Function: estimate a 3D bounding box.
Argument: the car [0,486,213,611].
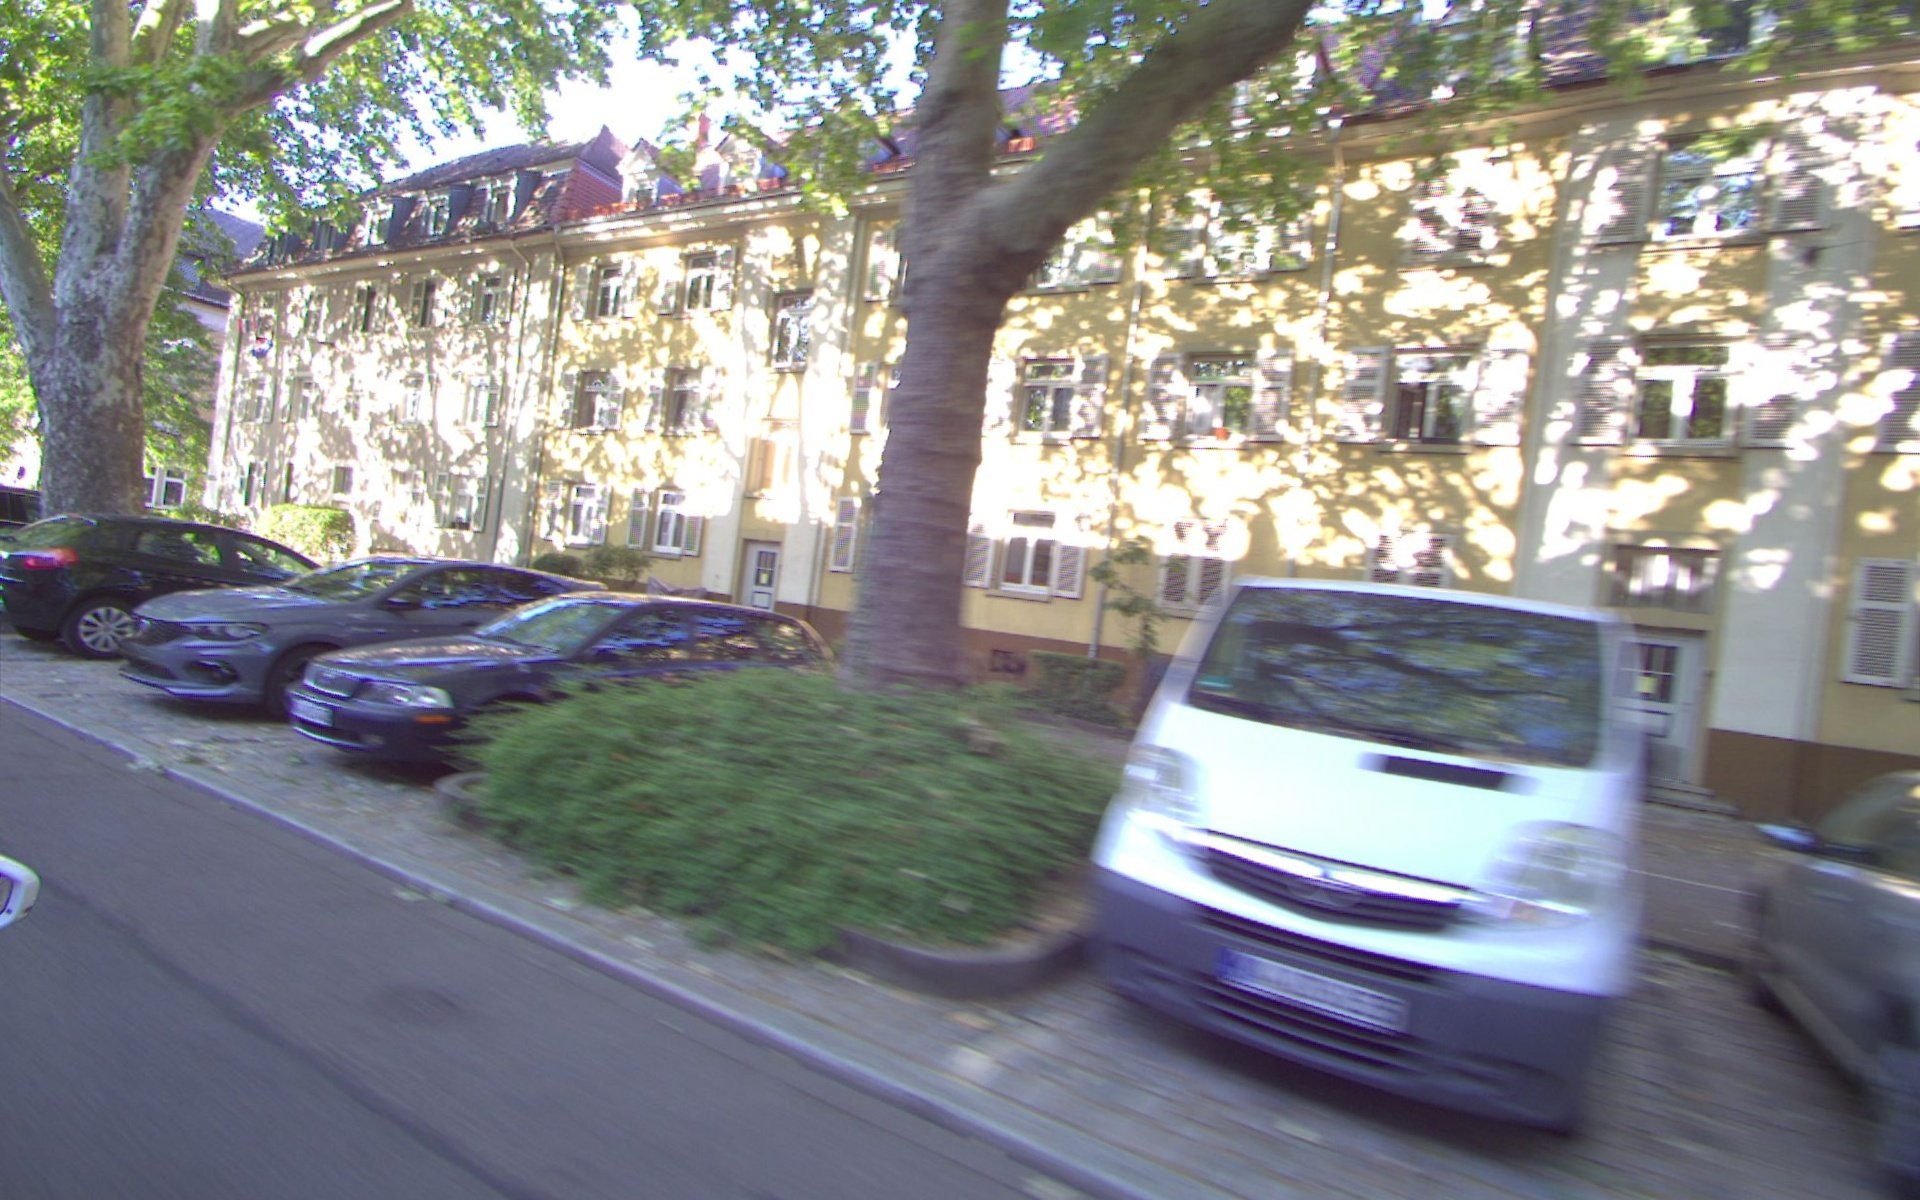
[{"bbox_3d":[-14.165,-0.866,14.929,1.996,1.622,4.496,7,0,35],"label":"car"}]

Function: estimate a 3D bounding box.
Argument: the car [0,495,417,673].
[{"bbox_3d":[-8.590,-0.108,11.410,1.682,1.527,3.845,7,-2,31],"label":"car"}]

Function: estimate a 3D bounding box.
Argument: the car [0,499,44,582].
[{"bbox_3d":[-19.910,-1.394,18.488,1.767,1.527,4.149,7,-2,32],"label":"car"}]

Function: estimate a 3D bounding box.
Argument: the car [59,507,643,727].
[{"bbox_3d":[-5.386,0.273,9.533,1.866,1.501,4.255,7,-2,31],"label":"car"}]

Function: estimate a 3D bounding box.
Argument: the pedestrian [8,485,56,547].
[{"bbox_3d":[-28.836,-2.606,31.250,0.807,1.760,0.761,7,0,32],"label":"pedestrian"}]

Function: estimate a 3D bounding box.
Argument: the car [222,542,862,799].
[{"bbox_3d":[-2.961,0.592,8.102,1.776,1.396,4.400,6,-2,35],"label":"car"}]

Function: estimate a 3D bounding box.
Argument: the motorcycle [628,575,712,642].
[{"bbox_3d":[-6.474,0.214,22.566,0.612,1.379,1.805,7,2,29],"label":"motorcycle"}]

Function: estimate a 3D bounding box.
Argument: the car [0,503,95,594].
[{"bbox_3d":[-17.937,-1.130,17.197,1.915,1.456,4.304,7,-2,30],"label":"car"}]

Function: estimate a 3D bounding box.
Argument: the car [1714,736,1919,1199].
[{"bbox_3d":[4.347,1.445,3.899,1.644,1.463,3.534,7,-2,29],"label":"car"}]

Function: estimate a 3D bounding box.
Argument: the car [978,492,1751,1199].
[{"bbox_3d":[2.228,0.915,5.235,2.030,1.986,4.847,7,-2,29],"label":"car"}]
